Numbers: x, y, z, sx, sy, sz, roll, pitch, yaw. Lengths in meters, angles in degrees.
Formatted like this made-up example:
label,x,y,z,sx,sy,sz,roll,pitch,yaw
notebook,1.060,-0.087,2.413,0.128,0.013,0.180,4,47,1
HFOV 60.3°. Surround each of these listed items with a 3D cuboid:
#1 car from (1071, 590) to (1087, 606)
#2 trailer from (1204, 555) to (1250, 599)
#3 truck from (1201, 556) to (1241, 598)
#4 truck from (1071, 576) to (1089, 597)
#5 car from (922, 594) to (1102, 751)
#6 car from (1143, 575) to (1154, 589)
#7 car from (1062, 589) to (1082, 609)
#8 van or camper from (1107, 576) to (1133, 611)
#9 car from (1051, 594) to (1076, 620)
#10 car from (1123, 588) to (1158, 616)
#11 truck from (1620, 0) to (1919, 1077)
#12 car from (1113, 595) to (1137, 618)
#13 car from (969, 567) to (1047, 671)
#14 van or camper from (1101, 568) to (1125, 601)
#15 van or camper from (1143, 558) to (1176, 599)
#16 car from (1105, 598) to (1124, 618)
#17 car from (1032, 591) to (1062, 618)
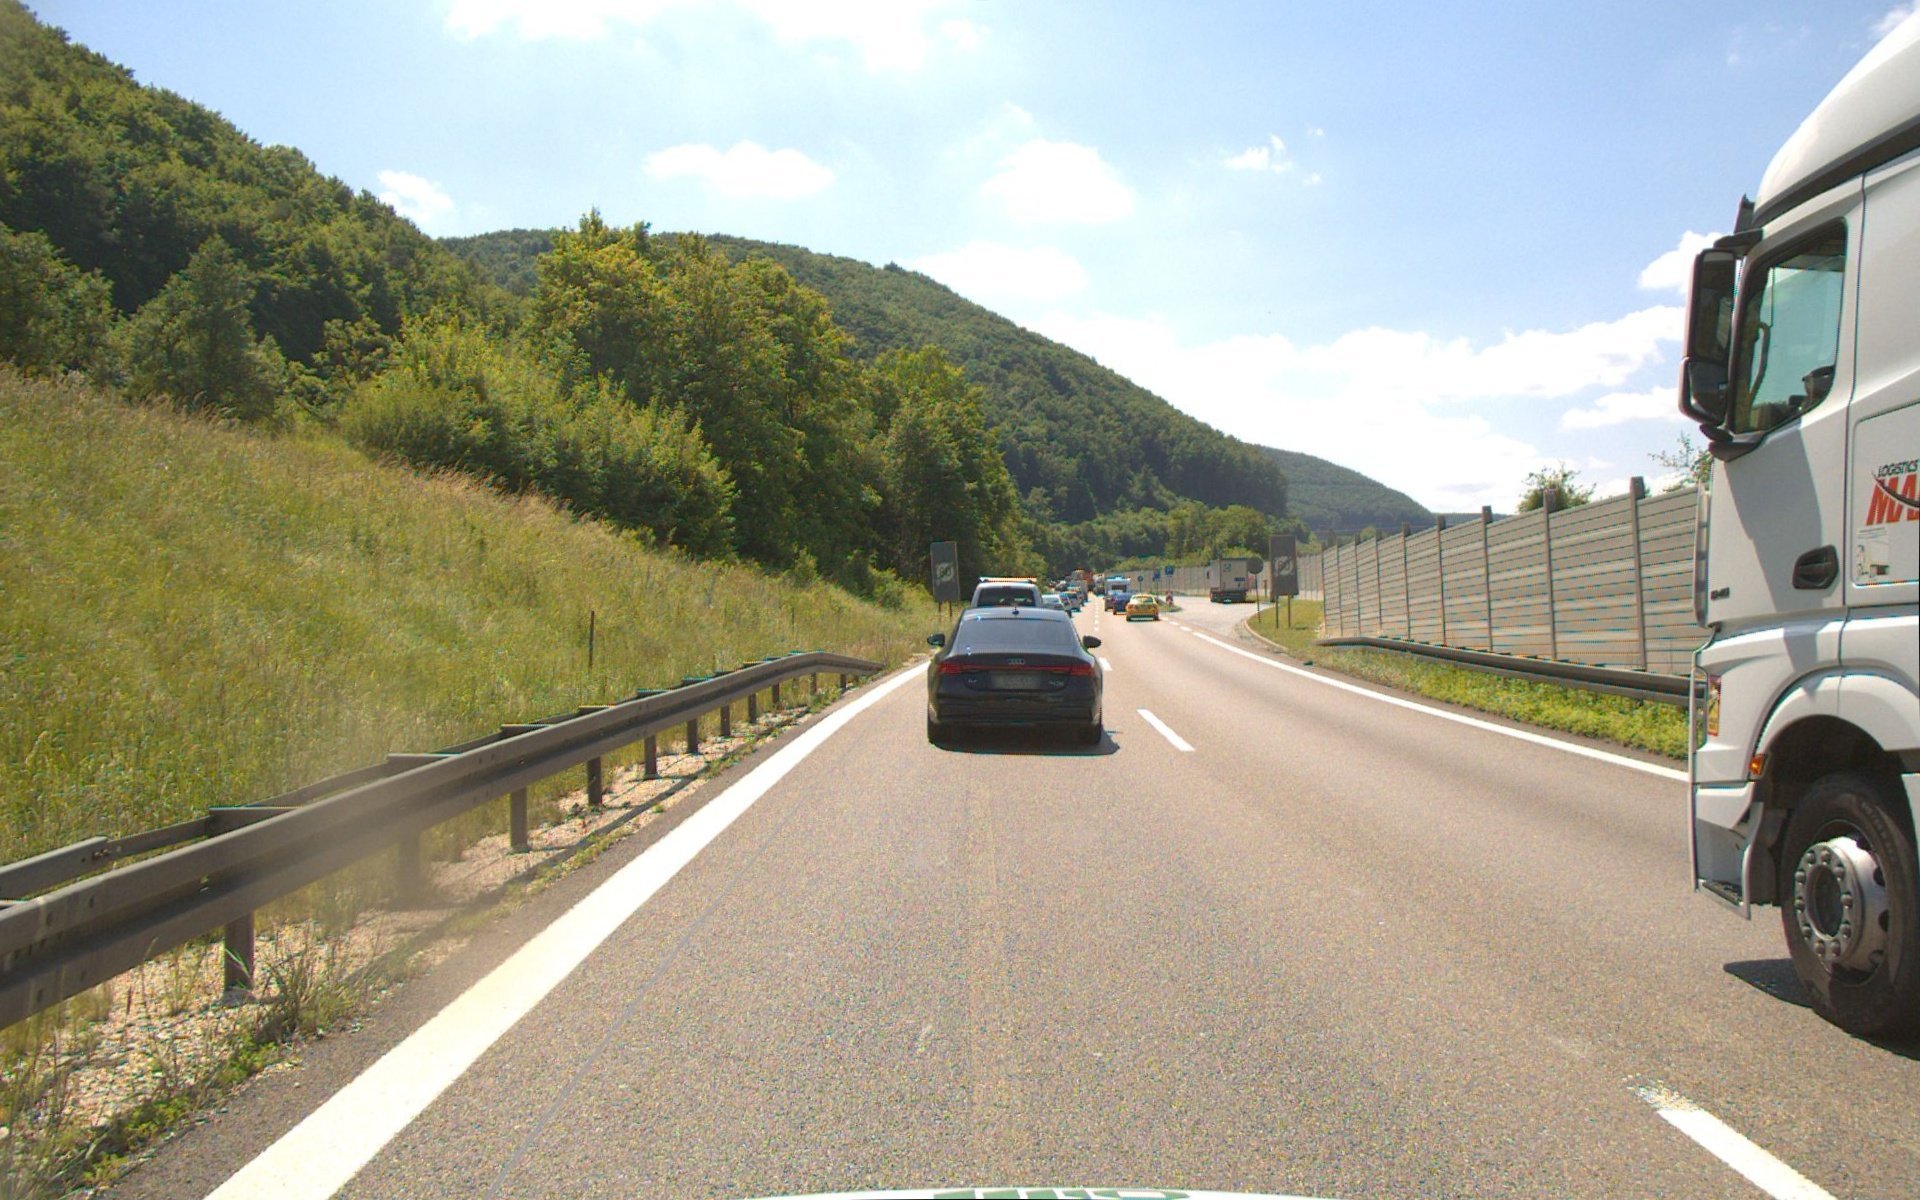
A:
label,x,y,z,sx,sy,sz,roll,pitch,yaw
car,12.156,-0.196,169.245,1.489,1.580,3.517,2,0,6
trailer,24.894,-2.133,154.759,3.340,3.968,11.157,0,0,4
truck,25.332,-2.194,160.731,3.340,3.968,5.390,0,0,4
truck,15.670,-1.710,215.019,2.021,2.651,5.618,2,0,6
car,0.558,0.712,18.138,1.774,1.541,3.515,0,0,1
car,27.730,-2.673,243.626,1.543,2.049,3.430,-1,0,5
car,9.102,-0.079,134.212,1.489,1.580,3.517,2,0,6
van or camper,15.383,-0.610,159.486,2.378,3.210,5.206,1,-1,5
car,6.710,0.452,107.391,1.489,1.580,3.516,2,0,5
car,10.127,0.088,92.902,1.839,1.525,4.002,0,0,5
truck,4.433,-0.548,4.623,2.665,4.139,5.750,0,0,-3
car,11.132,0.453,111.692,1.497,1.552,3.599,1,0,5
car,0.971,0.372,34.559,1.490,2.002,3.514,2,0,1
van or camper,19.089,-1.860,206.744,2.736,3.975,6.169,1,-1,3
van or camper,19.822,-2.092,164.584,2.736,3.909,6.169,1,-1,3
car,12.374,0.648,132.372,1.497,1.552,3.599,1,0,5
car,4.371,0.205,83.525,1.489,1.317,3.515,-1,0,2
